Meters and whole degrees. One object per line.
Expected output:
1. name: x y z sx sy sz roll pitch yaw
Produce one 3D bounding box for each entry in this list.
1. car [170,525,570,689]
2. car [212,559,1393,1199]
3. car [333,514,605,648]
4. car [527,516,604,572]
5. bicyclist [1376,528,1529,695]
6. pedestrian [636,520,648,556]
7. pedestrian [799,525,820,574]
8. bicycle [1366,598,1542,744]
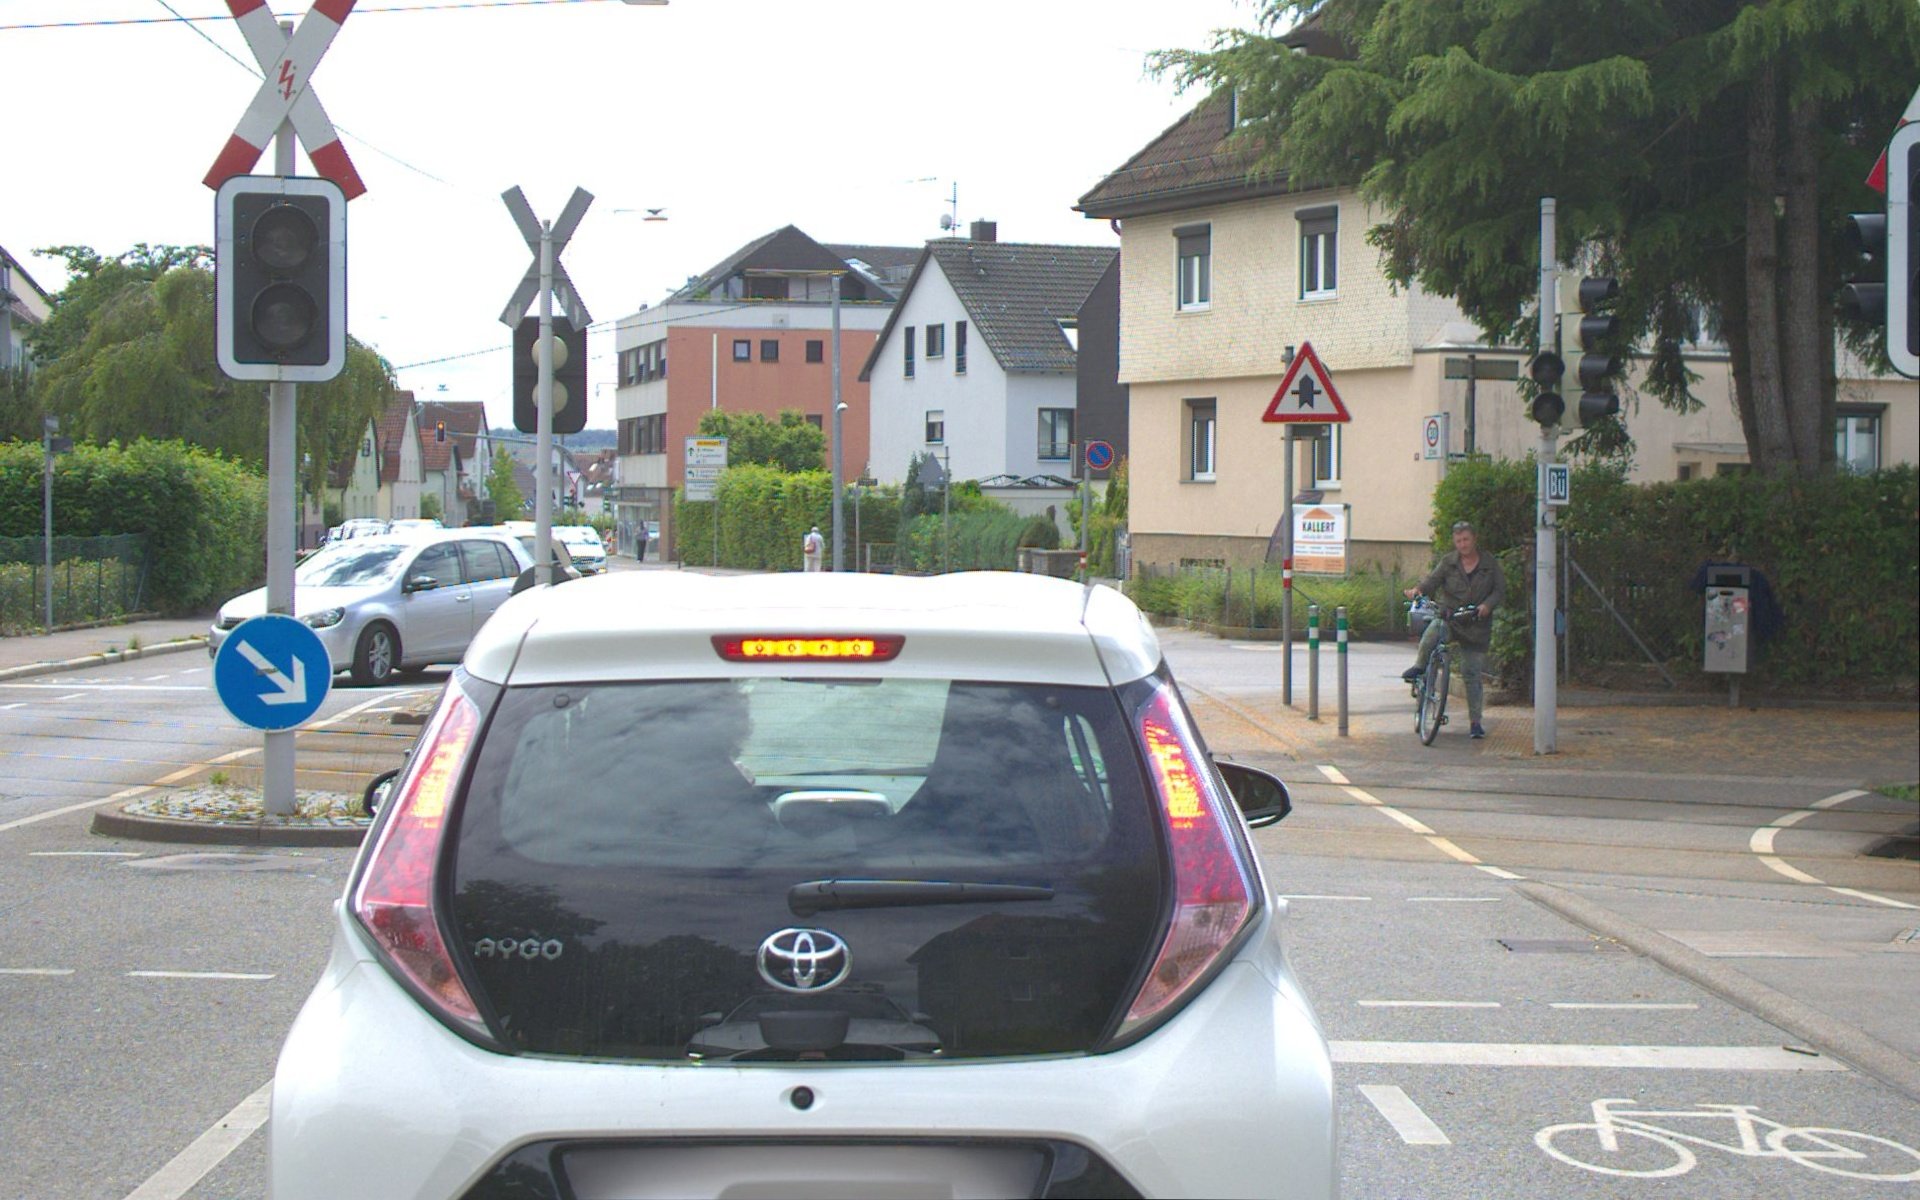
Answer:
1. car: -5.830 0.021 34.417 1.691 1.453 4.063 1 3 31
2. car: -0.241 0.670 6.739 1.621 1.481 4.000 0 1 -1
3. car: -5.774 -0.214 40.589 1.579 1.505 2.781 2 1 42
4. car: -11.444 -1.641 99.643 1.774 1.556 4.171 0 1 -13
5. bicyclist: 3.767 0.075 26.243 0.933 1.243 1.101 0 1 21
6. pedestrian: -12.905 -2.517 139.478 0.413 1.433 0.438 1 1 -11
7. pedestrian: -4.464 -1.508 102.073 0.436 1.433 0.414 0 2 -40
8. bicycle: 3.802 0.520 26.341 0.933 1.037 1.913 0 1 21
